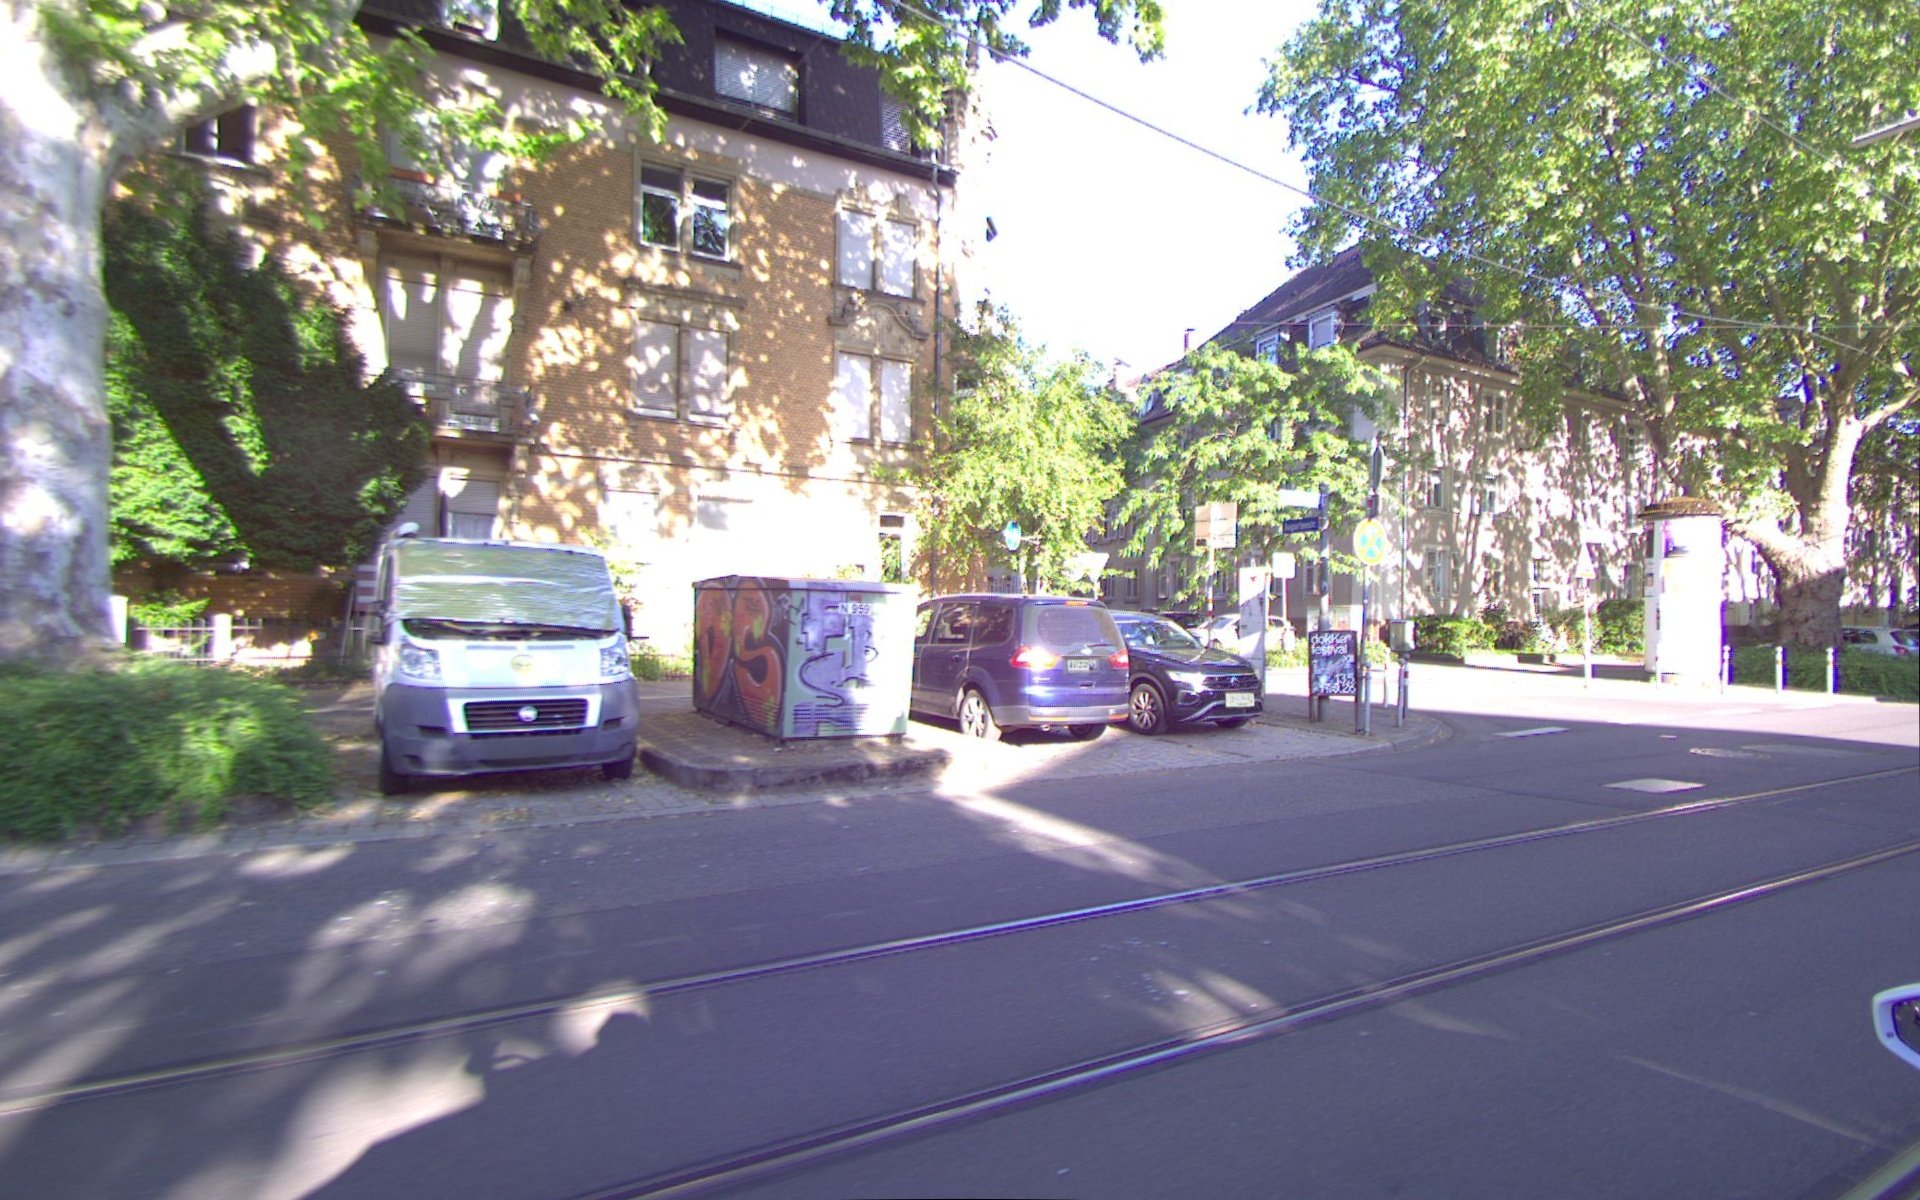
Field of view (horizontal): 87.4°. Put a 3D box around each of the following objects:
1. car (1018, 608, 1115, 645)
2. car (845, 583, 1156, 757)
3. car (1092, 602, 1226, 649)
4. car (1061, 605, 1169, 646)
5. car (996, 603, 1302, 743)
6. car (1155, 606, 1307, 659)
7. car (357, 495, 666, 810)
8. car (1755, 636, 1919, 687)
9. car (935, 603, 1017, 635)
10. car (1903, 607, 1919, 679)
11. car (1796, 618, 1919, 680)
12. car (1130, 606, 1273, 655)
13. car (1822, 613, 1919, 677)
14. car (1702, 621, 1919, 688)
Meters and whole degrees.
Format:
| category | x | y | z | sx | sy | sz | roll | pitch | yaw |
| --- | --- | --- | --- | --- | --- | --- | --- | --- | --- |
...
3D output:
| category | x | y | z | sx | sy | sz | roll | pitch | yaw |
| --- | --- | --- | --- | --- | --- | --- | --- | --- | --- |
| car | 4.712 | 1.190 | 44.528 | 3.954 | 1.540 | 1.855 | 1 | 0 | -31 |
| car | 0.315 | 0.734 | 12.882 | 1.905 | 1.825 | 4.276 | 1 | 0 | -32 |
| car | 7.501 | 0.961 | 37.918 | 4.618 | 1.613 | 1.990 | 1 | 0 | -21 |
| car | 6.188 | 1.018 | 40.029 | 3.954 | 1.540 | 1.855 | 1 | 0 | -31 |
| car | 2.509 | 0.896 | 14.381 | 1.905 | 1.628 | 4.276 | 1 | 0 | -32 |
| car | 8.998 | 1.085 | 33.362 | 4.669 | 1.613 | 1.853 | 1 | 0 | -21 |
| car | -4.692 | 0.364 | 9.969 | 2.063 | 2.289 | 5.004 | 1 | 0 | -33 |
| car | 24.760 | 1.690 | 27.579 | 1.695 | 1.307 | 4.270 | 2 | -4 | -37 |
| car | 0.848 | 0.997 | 52.661 | 3.954 | 1.540 | 1.855 | 1 | 0 | -31 |
| car | 34.429 | 1.349 | 32.686 | 2.056 | 2.405 | 5.016 | 1 | -4 | -29 |
| car | 26.619 | 1.390 | 28.380 | 1.766 | 1.696 | 4.270 | 2 | -4 | -37 |
| car | 8.583 | 1.071 | 35.712 | 4.618 | 1.613 | 1.990 | 1 | 0 | -21 |
| car | 28.518 | 1.328 | 29.702 | 1.766 | 1.864 | 4.270 | 2 | -4 | -37 |
| car | 22.443 | 1.469 | 26.494 | 1.766 | 1.614 | 4.270 | 2 | -4 | -37 |
